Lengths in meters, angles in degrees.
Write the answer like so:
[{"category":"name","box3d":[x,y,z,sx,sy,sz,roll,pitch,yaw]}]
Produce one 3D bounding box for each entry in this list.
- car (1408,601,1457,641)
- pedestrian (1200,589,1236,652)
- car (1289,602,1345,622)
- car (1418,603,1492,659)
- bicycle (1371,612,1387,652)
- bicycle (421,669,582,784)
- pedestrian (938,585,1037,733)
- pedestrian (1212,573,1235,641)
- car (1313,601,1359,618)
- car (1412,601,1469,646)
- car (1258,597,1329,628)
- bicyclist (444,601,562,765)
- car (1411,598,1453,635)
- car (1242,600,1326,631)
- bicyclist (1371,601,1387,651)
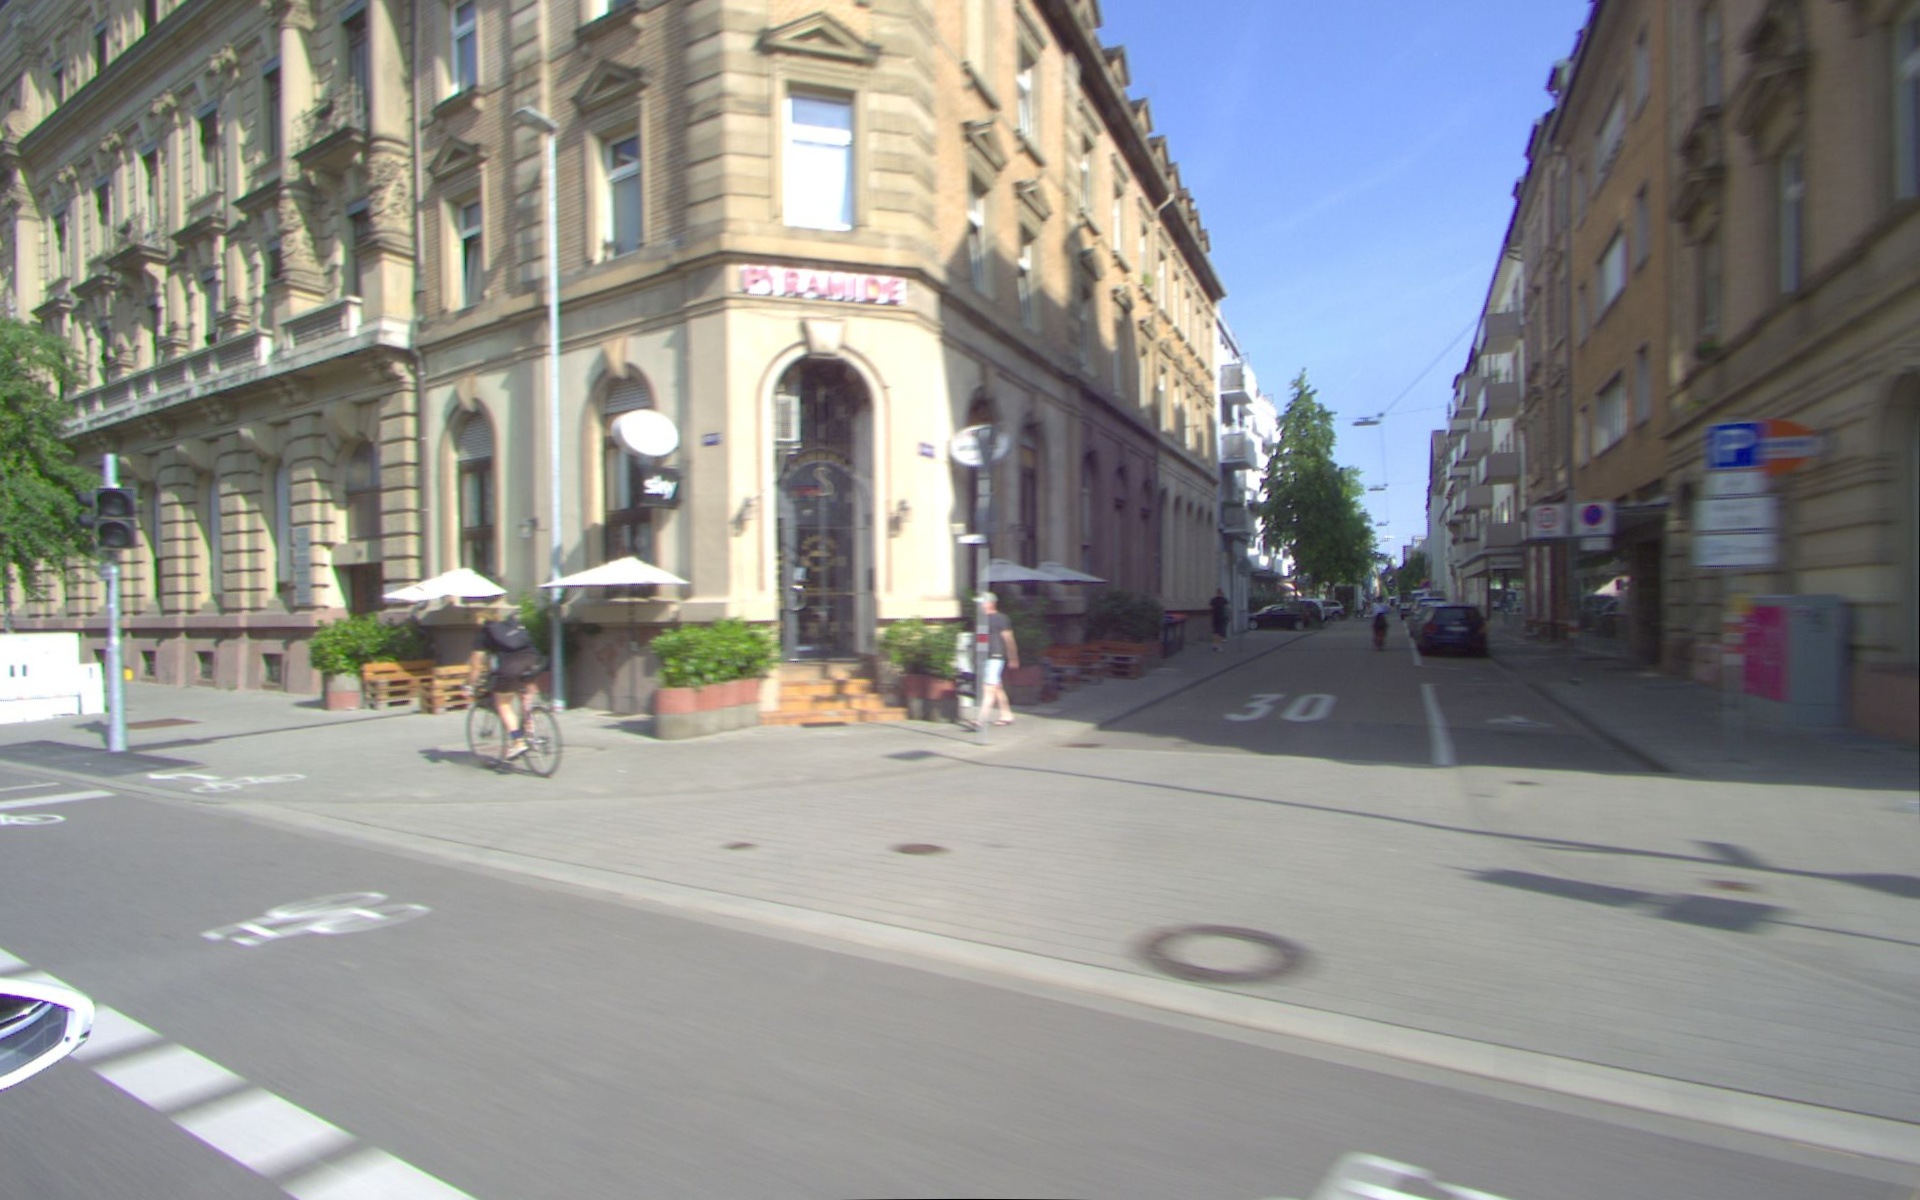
[{"category":"car","box3d":[18.330,0.804,38.938,1.636,1.439,3.617,-1,0,24]},{"category":"pedestrian","box3d":[7.872,0.613,30.543,0.852,1.876,0.815,2,2,24]},{"category":"car","box3d":[29.710,0.983,83.331,3.923,1.617,1.999,-1,0,-7]},{"category":"car","box3d":[14.074,0.848,28.615,1.713,1.439,3.793,-1,0,24]},{"category":"bicycle","box3d":[12.902,0.973,30.836,0.429,1.154,1.991,0,0,23]},{"category":"bicycle","box3d":[-4.494,1.193,9.778,1.759,0.966,0.504,-1,2,31]},{"category":"pedestrian","box3d":[0.366,0.727,13.071,0.979,1.831,0.859,2,3,35]},{"category":"pedestrian","box3d":[9.388,0.255,35.753,0.731,2.397,0.580,0,0,10]},{"category":"car","box3d":[38.170,0.944,101.660,3.923,1.617,1.999,-1,0,-7]},{"category":"car","box3d":[16.324,0.770,34.144,1.636,1.439,3.617,-1,0,24]},{"category":"car","box3d":[21.337,0.814,64.169,3.923,1.918,1.871,-1,0,-7]},{"category":"bicyclist","box3d":[-4.435,0.776,9.726,0.918,1.502,0.582,0,2,31]},{"category":"car","box3d":[21.329,0.724,45.331,1.636,1.610,3.617,-1,0,24]},{"category":"car","box3d":[17.790,0.832,55.093,3.923,1.617,1.999,-1,0,-7]},{"category":"bicyclist","box3d":[13.024,0.812,31.118,0.429,1.532,0.505,0,1,24]}]
